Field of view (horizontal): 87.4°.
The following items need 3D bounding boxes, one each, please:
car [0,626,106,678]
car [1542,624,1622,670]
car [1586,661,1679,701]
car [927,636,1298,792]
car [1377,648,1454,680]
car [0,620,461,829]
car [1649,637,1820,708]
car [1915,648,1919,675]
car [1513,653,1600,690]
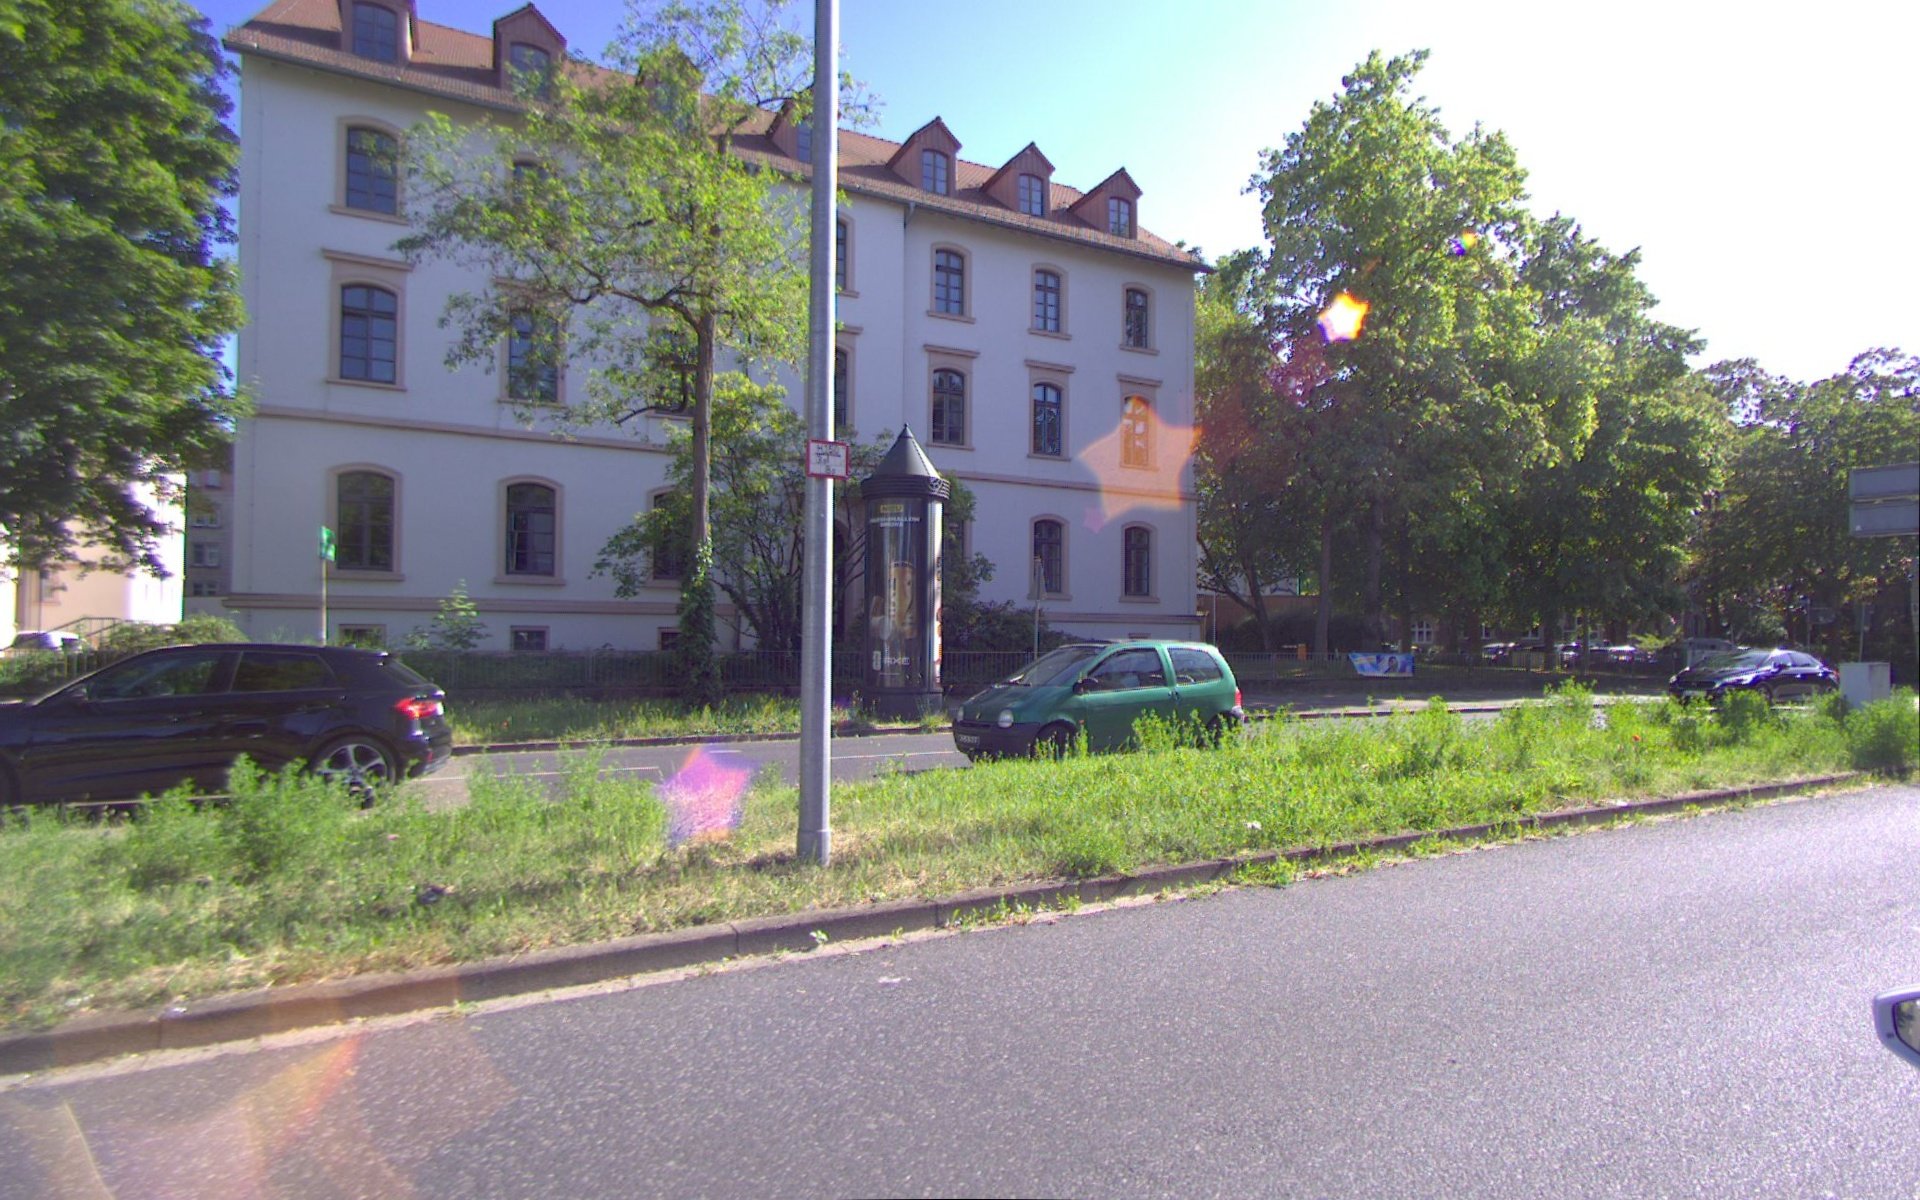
[{"bbox_3d":[-35.656,2.002,39.438,1.972,1.817,3.979,4,-3,-22],"label":"car"},{"bbox_3d":[37.253,2.804,60.135,4.925,2.353,1.838,6,-3,-28],"label":"car"},{"bbox_3d":[30.312,3.659,45.275,3.952,1.509,1.838,5,-3,-28],"label":"car"},{"bbox_3d":[1.848,1.207,11.716,4.208,1.539,1.630,2,-3,-30],"label":"car"},{"bbox_3d":[25.158,3.547,55.516,3.952,1.509,1.838,5,-3,-28],"label":"car"},{"bbox_3d":[-6.609,1.006,8.655,4.032,1.538,1.791,2,-4,-25],"label":"car"},{"bbox_3d":[18.700,1.688,24.210,4.372,1.539,1.787,2,-1,-30],"label":"car"},{"bbox_3d":[61.327,3.849,62.440,1.946,1.684,3.993,-1,-2,30],"label":"car"},{"bbox_3d":[28.798,3.442,48.484,3.952,1.509,1.838,5,-3,-28],"label":"car"}]
